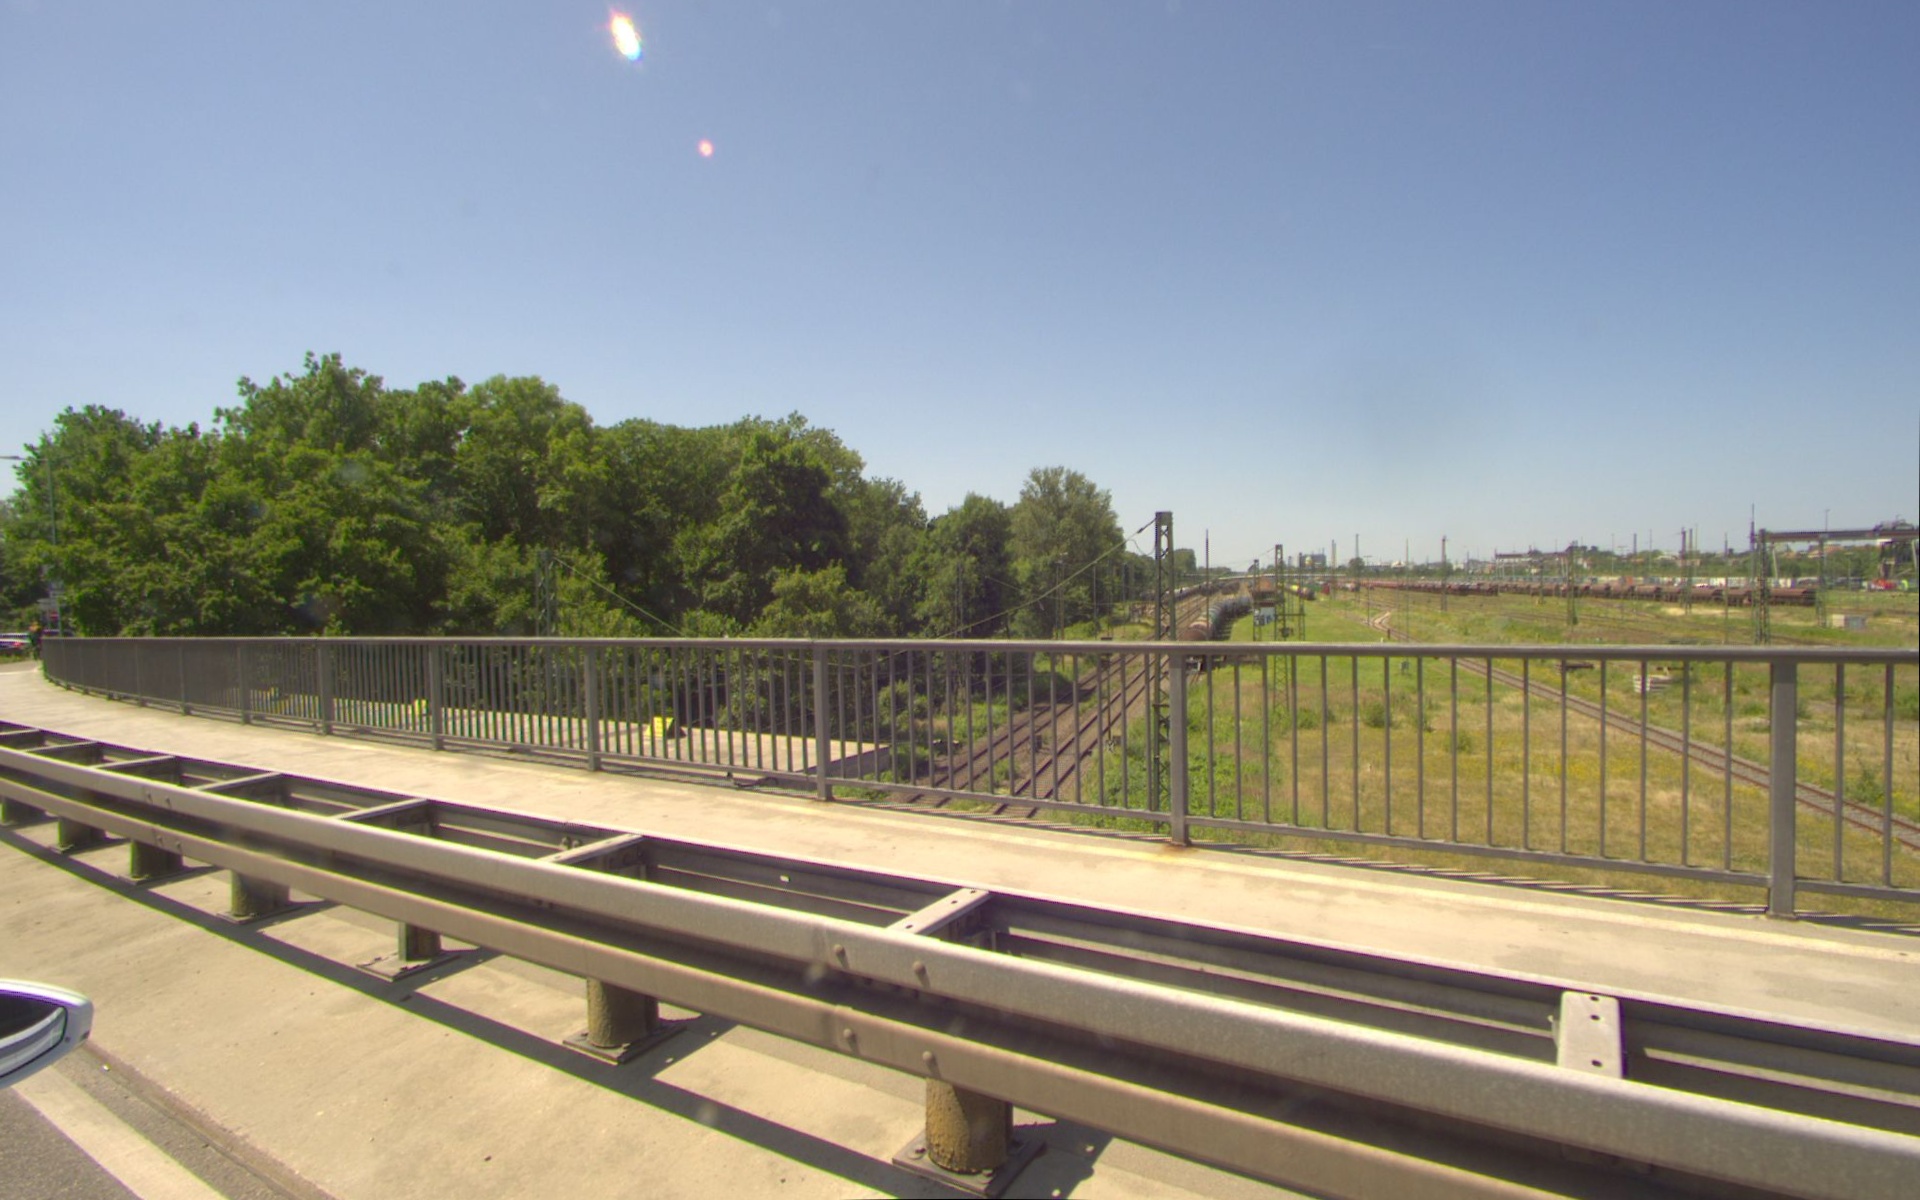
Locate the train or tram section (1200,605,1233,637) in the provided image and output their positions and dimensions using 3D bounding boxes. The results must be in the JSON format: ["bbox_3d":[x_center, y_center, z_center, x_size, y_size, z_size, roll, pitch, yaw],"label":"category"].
[{"bbox_3d":[40.824,3.239,158.949,3.784,4.366,13.598,-2,1,19],"label":"train or tram section"}]

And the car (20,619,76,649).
[{"bbox_3d":[-56.451,2.082,62.048,1.666,1.783,3.982,0,-2,-29],"label":"car"}]

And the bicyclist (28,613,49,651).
[{"bbox_3d":[-42.438,1.482,46.130,0.721,1.706,0.574,0,3,42],"label":"bicyclist"}]

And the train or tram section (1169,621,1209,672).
[{"bbox_3d":[24.589,4.847,107.074,3.781,4.366,13.612,-2,1,14],"label":"train or tram section"}]

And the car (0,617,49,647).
[{"bbox_3d":[-53.161,1.811,56.328,1.972,1.594,3.981,2,-4,-31],"label":"car"}]

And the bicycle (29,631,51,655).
[{"bbox_3d":[-42.424,1.973,46.151,1.468,1.050,0.578,-1,2,42],"label":"bicycle"}]

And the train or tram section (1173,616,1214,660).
[{"bbox_3d":[28.159,4.455,120.250,3.783,4.366,13.604,-2,1,17],"label":"train or tram section"}]
